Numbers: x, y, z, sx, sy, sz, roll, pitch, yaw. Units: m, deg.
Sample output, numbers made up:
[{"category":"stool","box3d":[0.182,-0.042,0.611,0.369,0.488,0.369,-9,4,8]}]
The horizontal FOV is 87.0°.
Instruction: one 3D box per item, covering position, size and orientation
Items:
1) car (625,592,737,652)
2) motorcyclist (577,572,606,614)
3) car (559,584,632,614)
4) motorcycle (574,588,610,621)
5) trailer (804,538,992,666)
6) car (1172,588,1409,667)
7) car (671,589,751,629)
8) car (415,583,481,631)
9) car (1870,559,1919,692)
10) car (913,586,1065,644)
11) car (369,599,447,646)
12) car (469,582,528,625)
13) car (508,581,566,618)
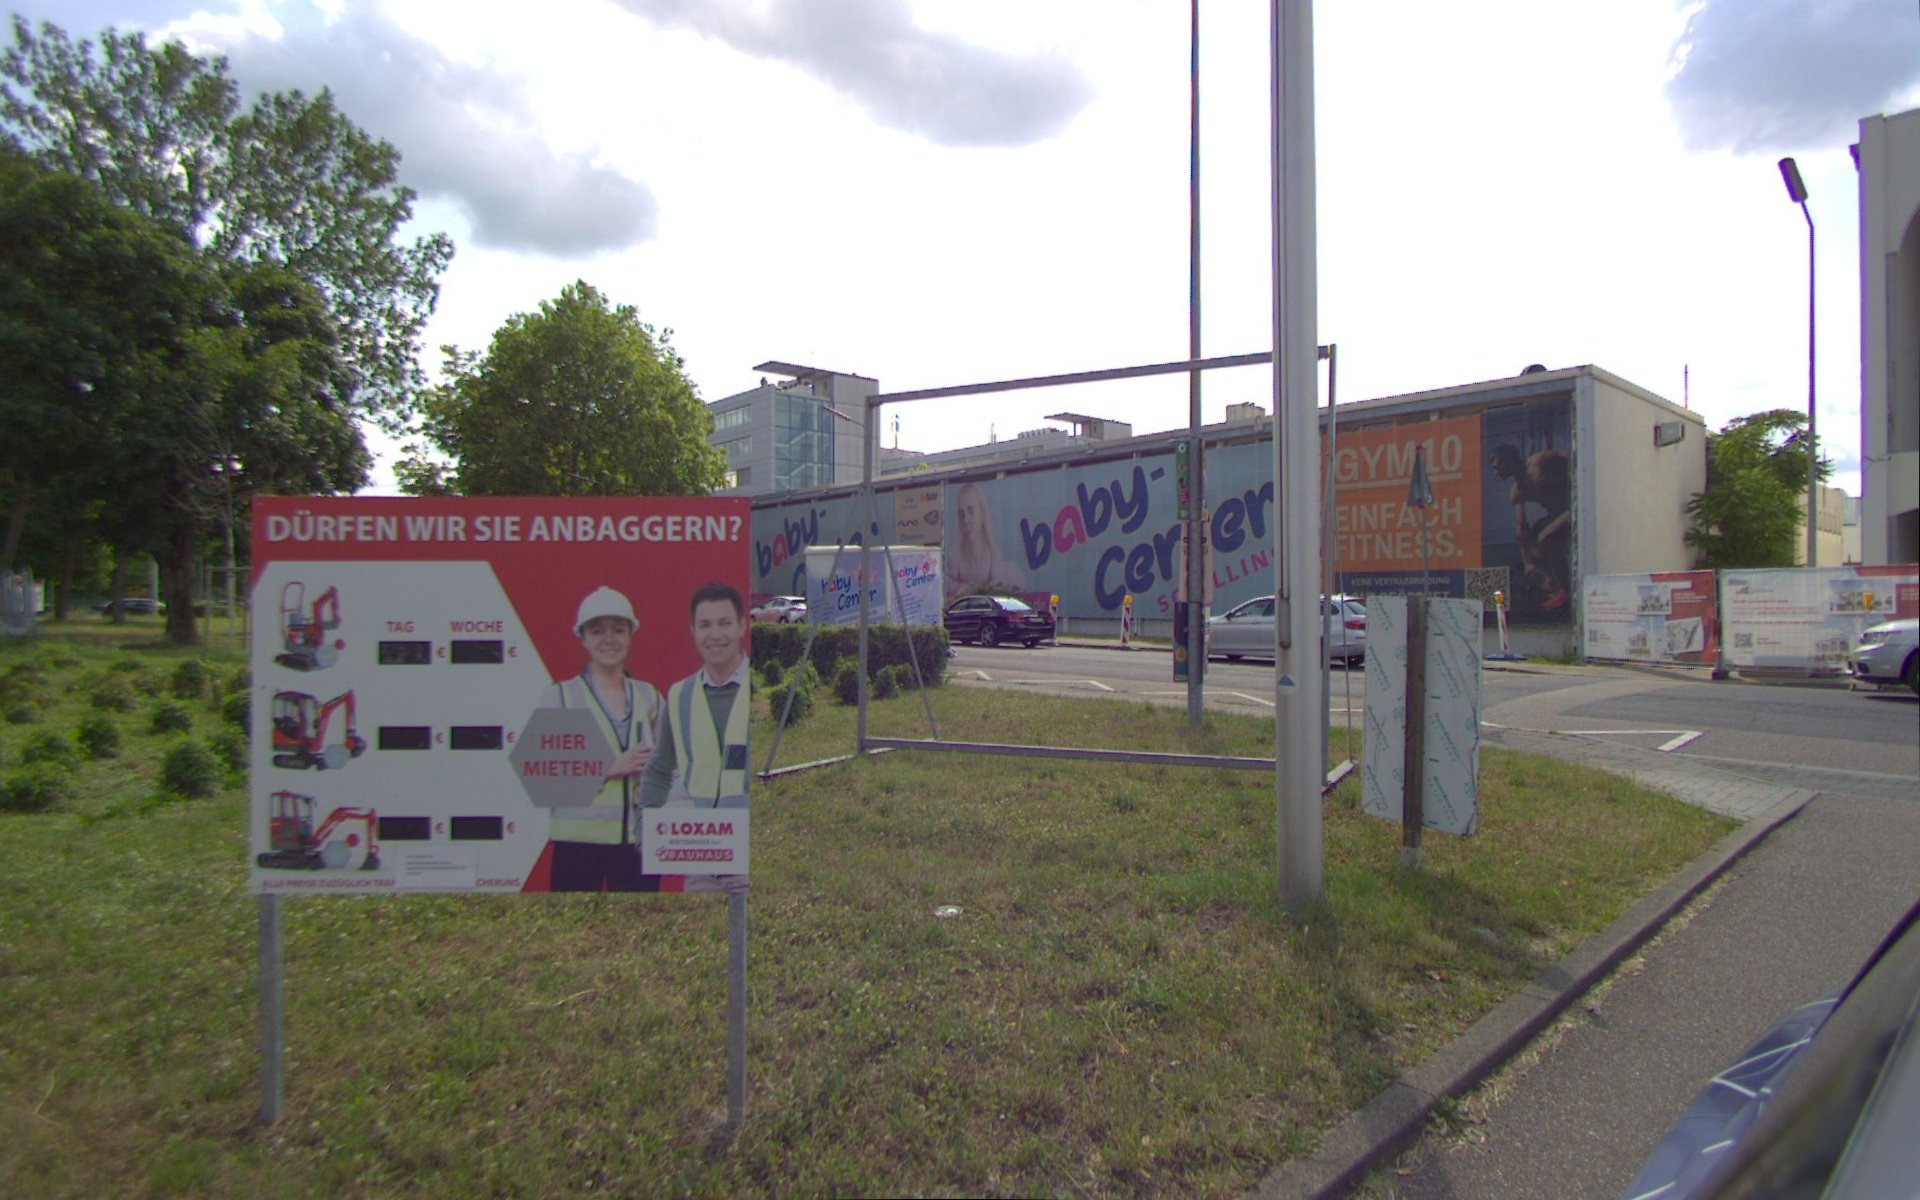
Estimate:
[{"category":"car","box3d":[-8.253,0.583,29.793,1.689,1.558,3.681,-4,3,-41]},{"category":"motorcyclist","box3d":[-14.996,-0.293,41.157,0.761,1.617,0.902,-5,4,-43]},{"category":"car","box3d":[-18.857,-0.064,52.260,1.979,1.422,4.781,-2,1,-41]},{"category":"motorcycle","box3d":[-14.991,0.179,41.199,0.634,1.261,1.955,-5,3,-42]},{"category":"trailer","box3d":[-1.439,-0.029,21.853,1.739,2.448,4.270,-4,3,-41]},{"category":"car","box3d":[6.907,0.517,21.567,1.739,1.499,4.611,1,0,-40]},{"category":"car","box3d":[-10.074,0.327,40.821,1.573,1.522,3.496,0,0,-44]},{"category":"car","box3d":[-24.325,0.279,47.996,1.965,2.038,3.997,-4,4,-38]},{"category":"car","box3d":[14.435,0.369,12.364,1.837,1.721,4.827,1,0,-44]},{"category":"car","box3d":[0.750,0.387,29.107,1.821,1.518,4.550,0,0,-40]},{"category":"car","box3d":[-21.005,0.847,38.458,1.690,1.558,3.680,-5,3,-42]},{"category":"car","box3d":[-24.141,0.146,52.880,1.964,2.038,3.999,-4,4,-36]},{"category":"car","box3d":[-24.240,-0.028,57.971,1.965,2.039,3.994,0,0,-40]}]
